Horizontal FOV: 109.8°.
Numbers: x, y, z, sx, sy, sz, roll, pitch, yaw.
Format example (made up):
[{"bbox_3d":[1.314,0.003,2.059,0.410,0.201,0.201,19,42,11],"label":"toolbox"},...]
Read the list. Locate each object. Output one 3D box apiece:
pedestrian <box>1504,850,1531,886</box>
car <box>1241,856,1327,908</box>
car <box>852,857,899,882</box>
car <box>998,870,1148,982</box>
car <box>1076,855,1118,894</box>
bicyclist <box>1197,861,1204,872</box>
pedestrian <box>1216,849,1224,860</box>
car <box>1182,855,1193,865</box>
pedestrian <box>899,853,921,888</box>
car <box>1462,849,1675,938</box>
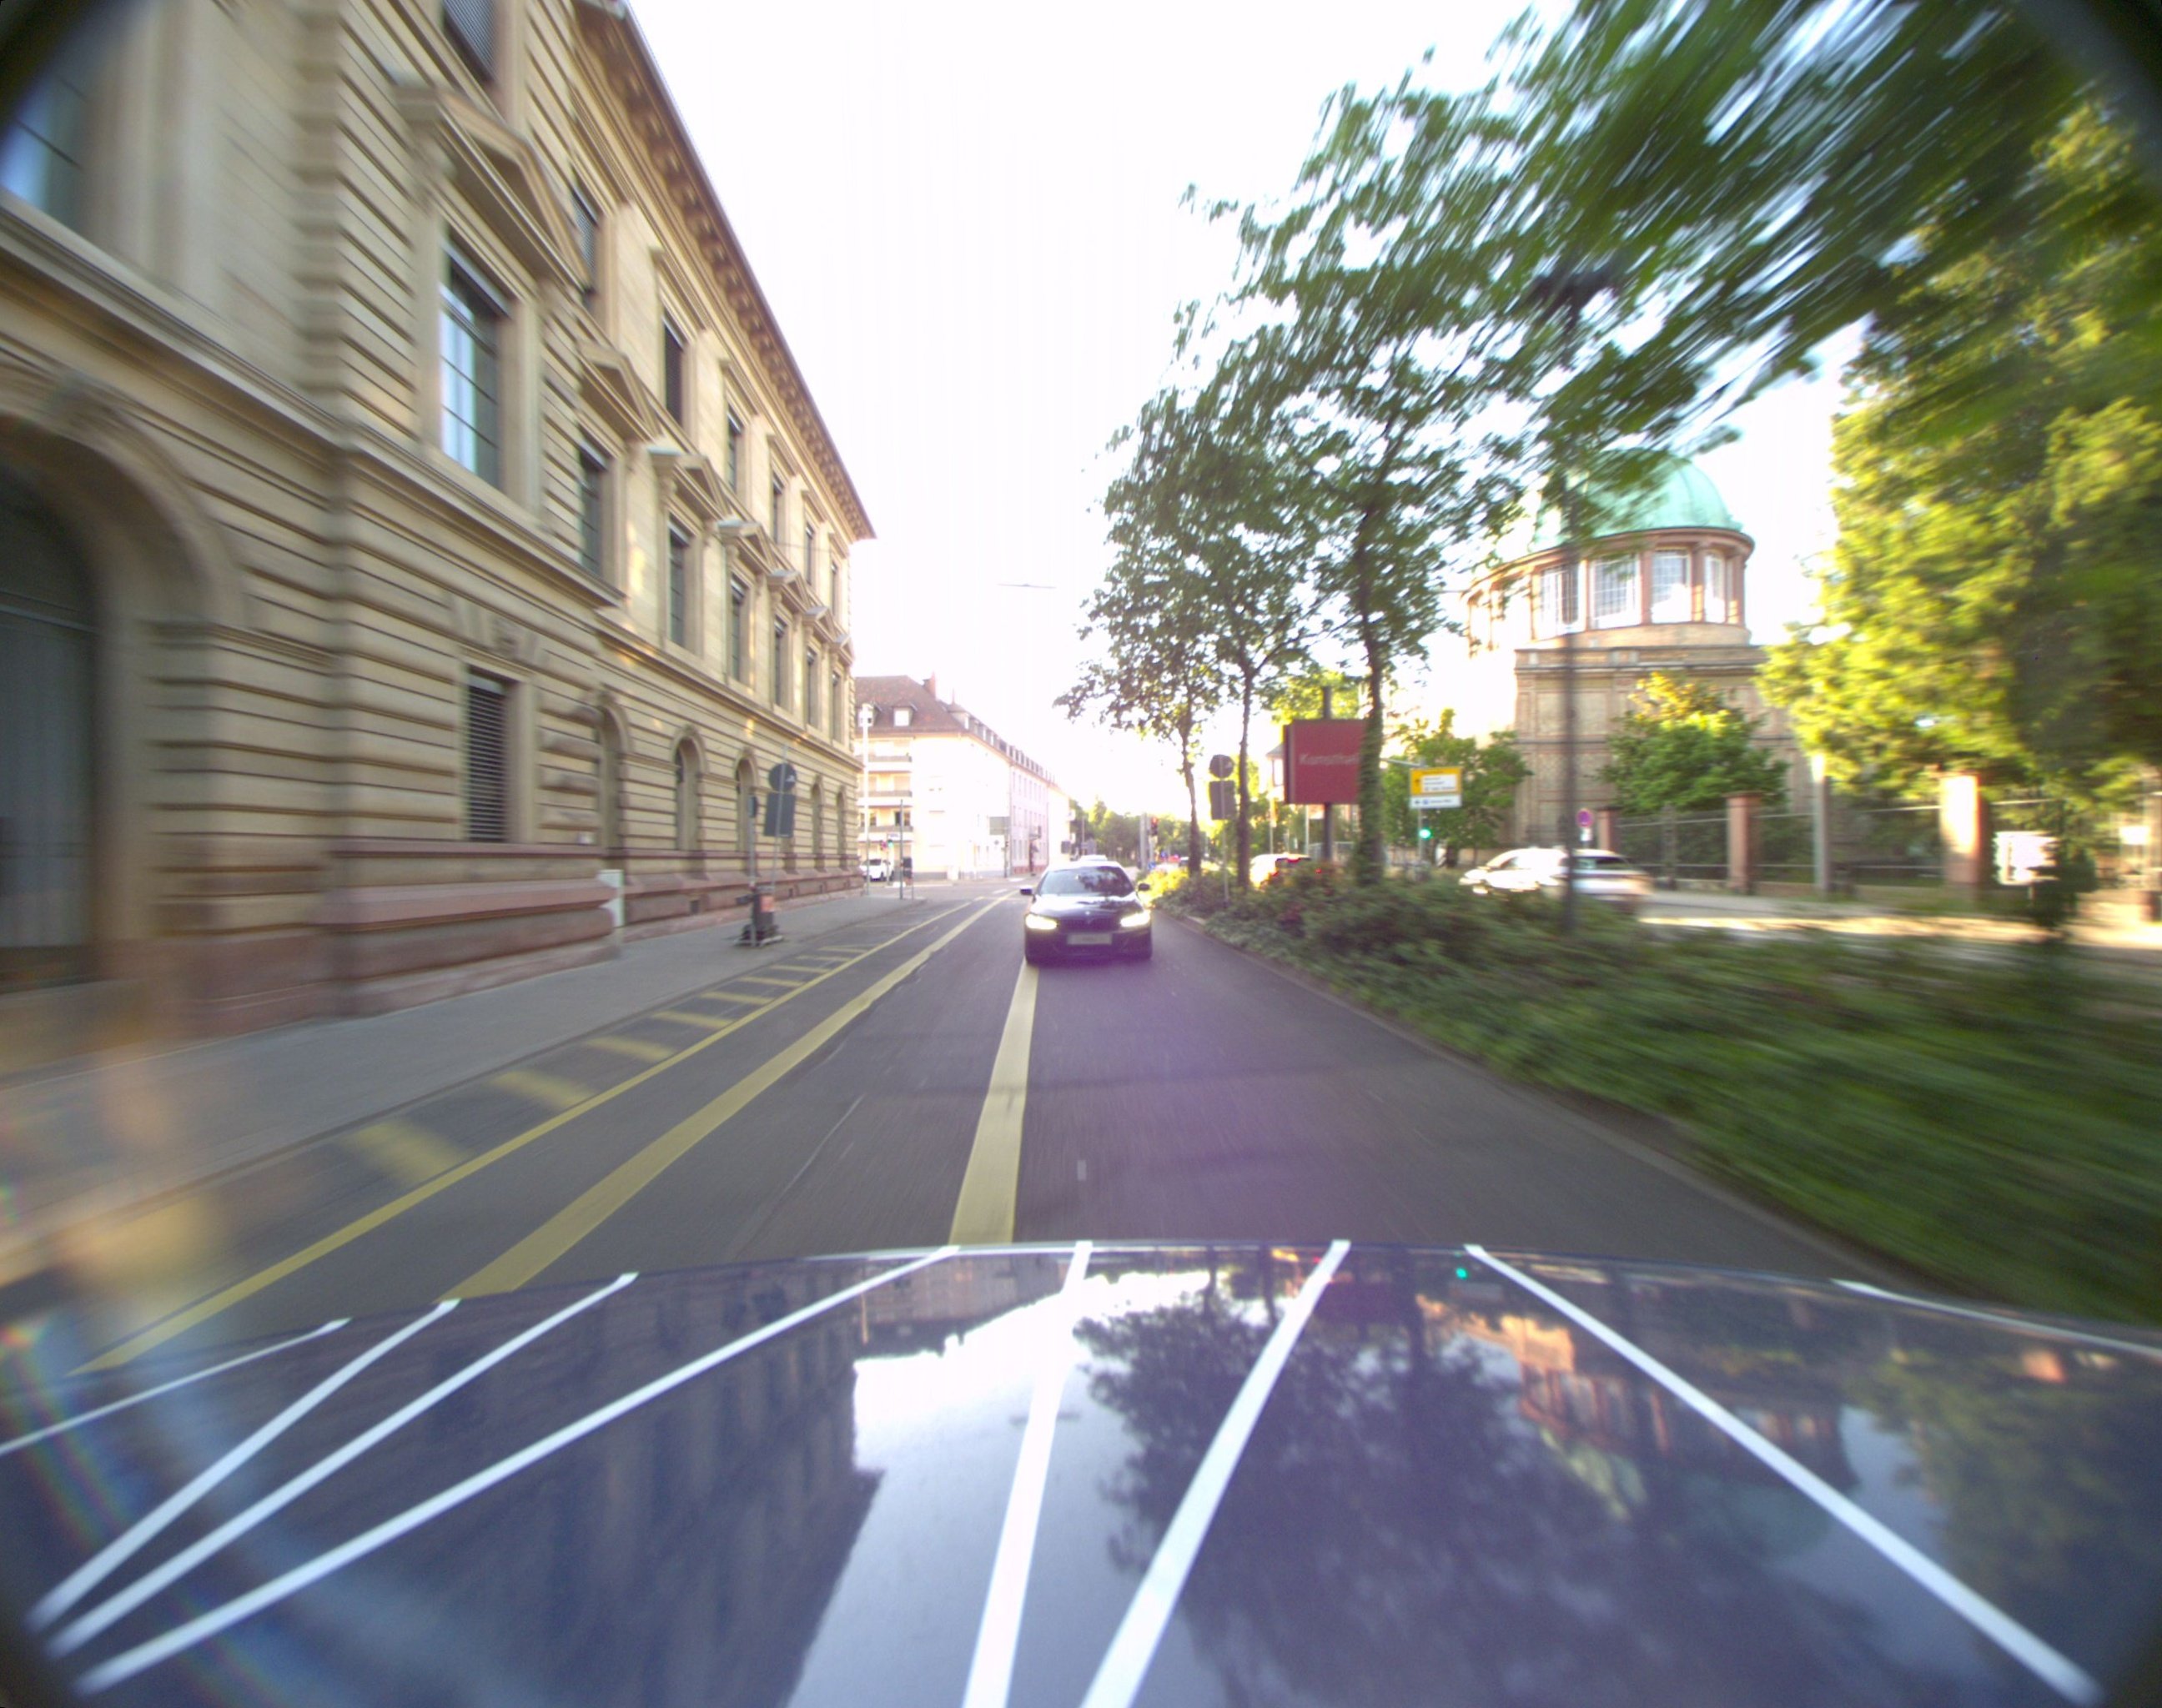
[{"bbox_3d":[19.438,0.637,33.860,0.737,1.569,0.762,-1,0,0],"label":"pedestrian"},{"bbox_3d":[6.431,0.829,24.501,1.849,1.538,4.119,0,0,3],"label":"car"},{"bbox_3d":[-14.936,1.067,55.452,1.998,1.739,4.476,-1,0,3],"label":"car"},{"bbox_3d":[0.095,1.039,12.759,1.963,1.378,4.783,-1,0,6],"label":"car"},{"bbox_3d":[0.815,0.926,36.310,1.838,1.674,4.224,-2,0,2],"label":"car"},{"bbox_3d":[14.855,1.545,94.646,0.749,1.452,0.937,1,0,0],"label":"bicyclist"},{"bbox_3d":[20.883,0.103,114.102,0.806,1.728,0.851,-1,0,31],"label":"pedestrian"},{"bbox_3d":[18.001,0.995,128.321,1.826,1.499,4.430,-1,0,8],"label":"car"},{"bbox_3d":[-9.904,0.928,43.981,0.786,2.002,0.996,-1,0,21],"label":"pedestrian"},{"bbox_3d":[10.331,0.747,16.604,1.847,1.664,4.557,1,0,2],"label":"car"}]
